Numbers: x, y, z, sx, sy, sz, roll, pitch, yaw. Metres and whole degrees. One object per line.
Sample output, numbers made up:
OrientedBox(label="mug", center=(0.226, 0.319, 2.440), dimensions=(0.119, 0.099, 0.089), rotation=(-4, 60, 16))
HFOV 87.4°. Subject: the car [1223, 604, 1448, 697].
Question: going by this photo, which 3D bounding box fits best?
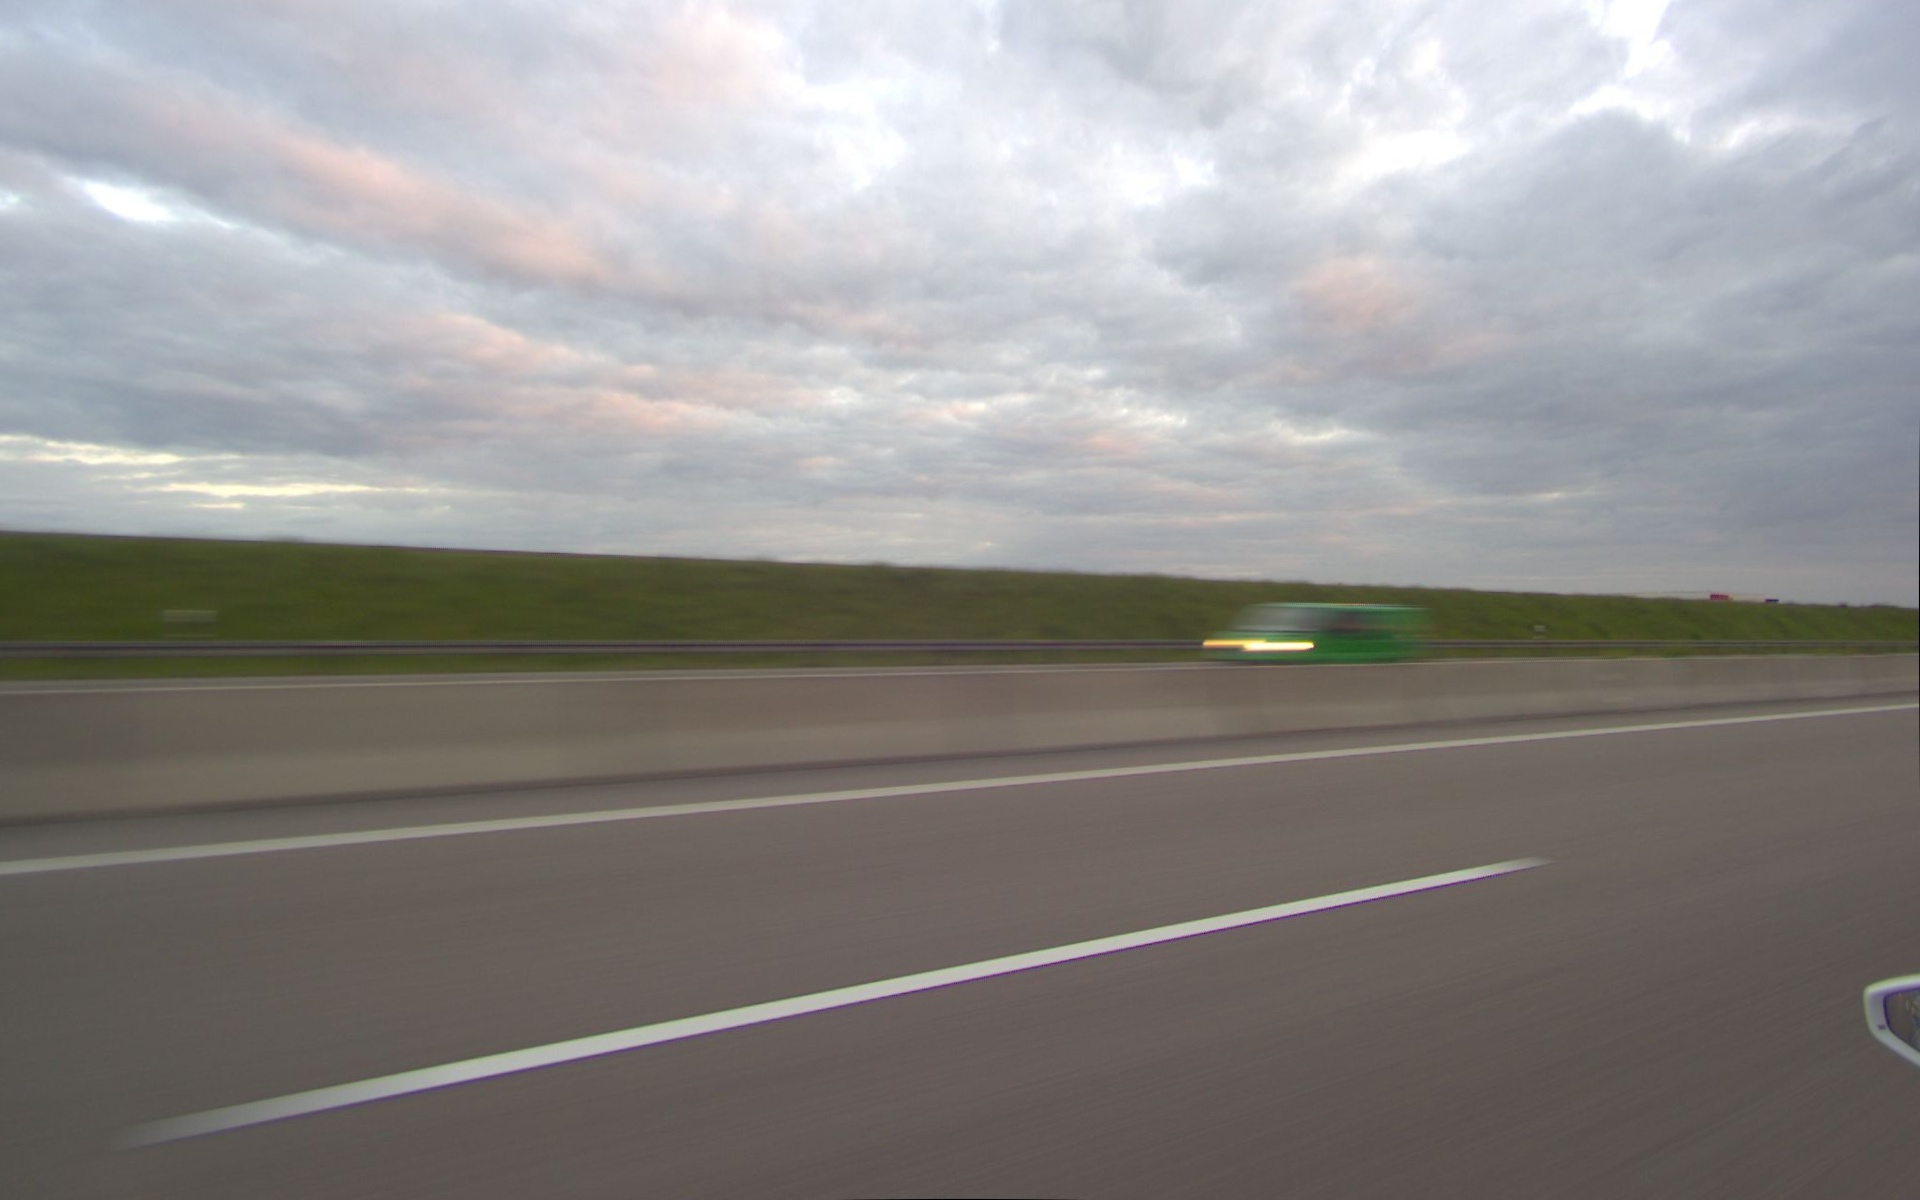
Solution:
OrientedBox(label="car", center=(9.139, 1.160, 24.291), dimensions=(5.669, 2.040, 1.994), rotation=(1, -1, -30))
